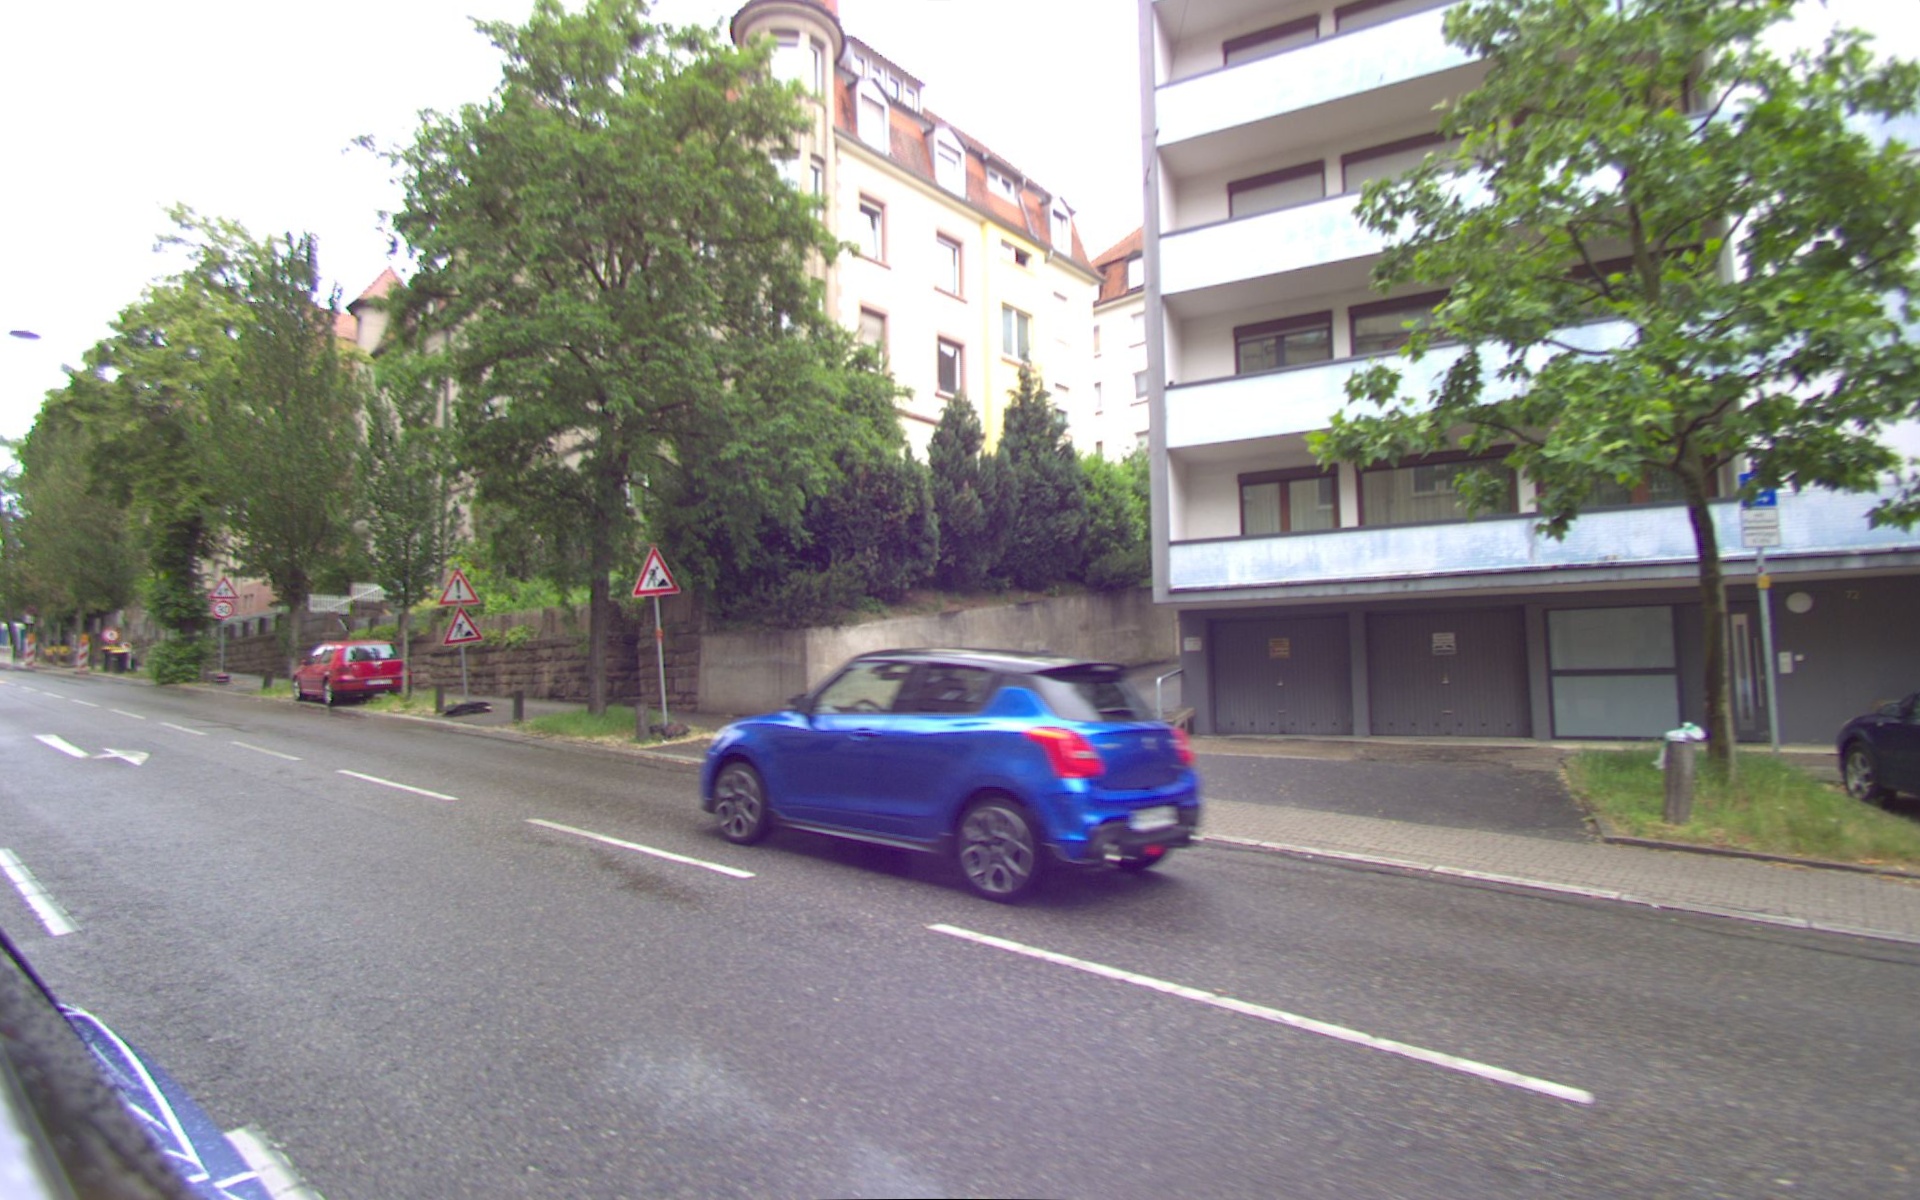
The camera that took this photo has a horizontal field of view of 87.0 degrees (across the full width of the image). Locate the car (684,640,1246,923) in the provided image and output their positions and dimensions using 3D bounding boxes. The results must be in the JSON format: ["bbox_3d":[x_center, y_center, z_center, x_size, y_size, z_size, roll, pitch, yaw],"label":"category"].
[{"bbox_3d":[-0.103,1.072,7.178,3.739,1.462,1.697,-2,-6,40],"label":"car"}]

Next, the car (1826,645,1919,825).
[{"bbox_3d":[9.195,1.155,8.088,1.928,1.586,4.342,0,-3,19],"label":"car"}]

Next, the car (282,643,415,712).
[{"bbox_3d":[-14.552,1.780,23.993,4.063,1.462,1.596,-2,-3,42],"label":"car"}]

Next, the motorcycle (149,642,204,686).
[{"bbox_3d":[-26.709,2.168,34.483,3.058,1.425,0.792,-2,-1,39],"label":"motorcycle"}]
